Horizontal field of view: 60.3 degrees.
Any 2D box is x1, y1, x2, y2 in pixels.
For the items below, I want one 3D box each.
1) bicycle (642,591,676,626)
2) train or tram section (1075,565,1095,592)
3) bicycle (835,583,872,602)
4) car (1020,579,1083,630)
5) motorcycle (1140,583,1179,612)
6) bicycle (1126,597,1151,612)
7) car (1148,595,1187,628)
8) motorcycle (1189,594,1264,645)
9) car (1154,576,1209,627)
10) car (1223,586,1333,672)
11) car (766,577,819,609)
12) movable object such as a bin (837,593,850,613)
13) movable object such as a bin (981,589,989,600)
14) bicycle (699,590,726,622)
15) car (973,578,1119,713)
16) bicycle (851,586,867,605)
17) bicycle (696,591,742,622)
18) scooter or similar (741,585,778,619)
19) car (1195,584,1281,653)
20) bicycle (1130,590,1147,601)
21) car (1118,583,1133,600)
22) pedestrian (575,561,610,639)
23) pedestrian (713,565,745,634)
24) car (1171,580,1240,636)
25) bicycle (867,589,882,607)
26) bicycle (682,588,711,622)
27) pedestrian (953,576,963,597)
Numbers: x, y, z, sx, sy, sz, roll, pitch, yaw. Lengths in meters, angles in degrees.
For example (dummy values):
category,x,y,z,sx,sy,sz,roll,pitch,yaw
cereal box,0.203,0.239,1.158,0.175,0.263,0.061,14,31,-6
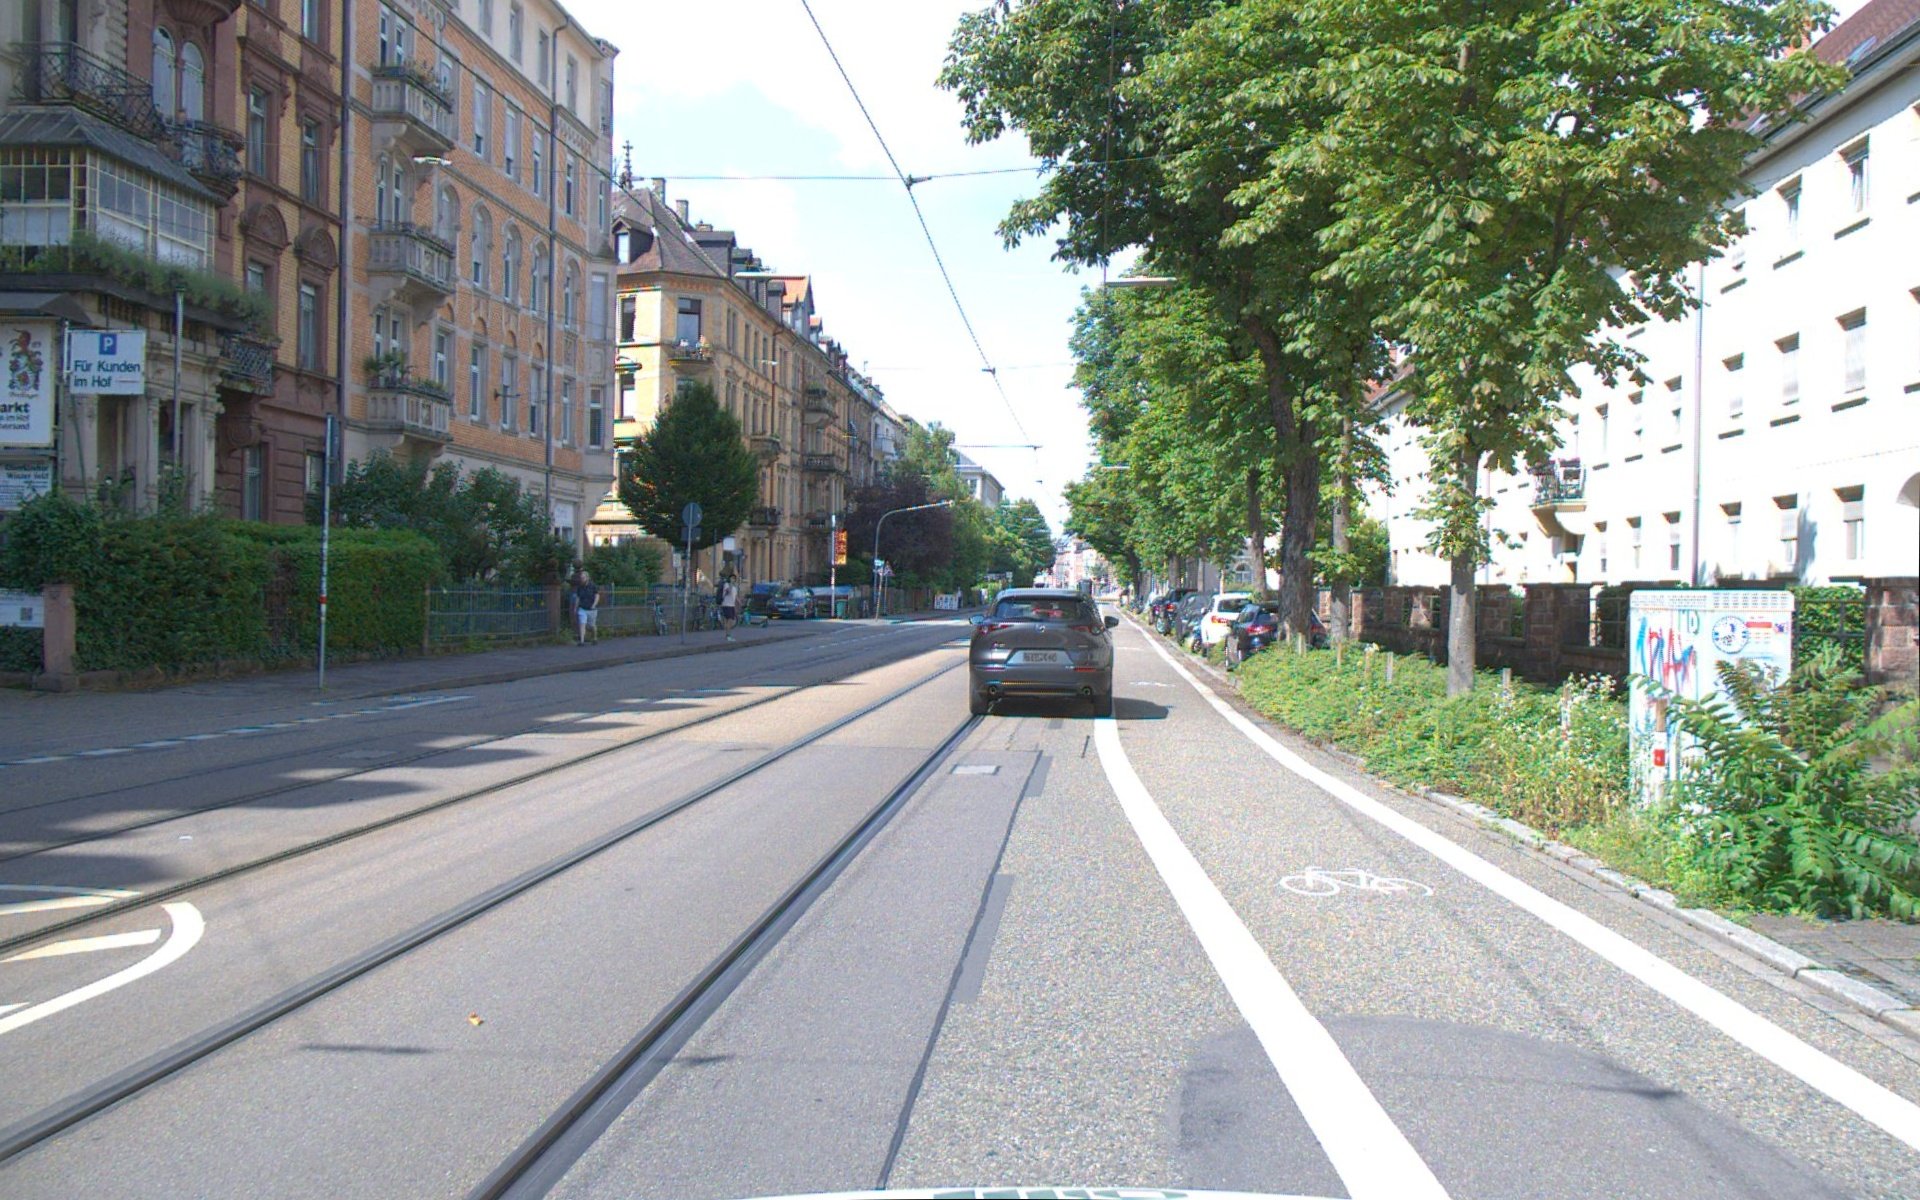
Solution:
category,x,y,z,sx,sy,sz,roll,pitch,yaw
bicycle,-8.325,0.225,45.795,0.412,0.949,1.950,1,1,4
train or tram section,18.568,-3.168,246.617,2.518,3.838,13.031,1,1,3
bicycle,-5.606,-0.397,86.981,1.921,0.963,0.532,1,0,0
car,3.109,0.128,55.449,1.952,1.555,4.002,3,1,5
motorcycle,11.739,-0.155,97.402,2.347,1.625,0.674,4,2,44
bicycle,14.329,0.377,132.867,1.896,1.196,0.513,0,-1,17
car,10.241,0.562,81.887,1.670,1.504,4.199,3,1,5
motorcycle,7.403,0.534,45.963,1.965,1.360,0.747,1,0,1
car,8.315,0.011,62.329,1.788,1.813,4.736,1,1,5
car,6.270,0.519,32.967,1.625,1.547,4.290,1,1,4
car,-7.903,-0.343,78.360,1.650,1.485,4.767,1,1,5
movable object such as a bin,-5.656,0.141,80.393,0.514,0.921,0.636,1,0,3
movable object such as a bin,2.569,-0.568,169.064,0.729,1.005,1.115,3,0,5
bicycle,-7.845,0.176,52.441,0.412,0.993,1.950,1,1,4
car,1.144,0.512,21.133,1.684,1.553,3.591,1,0,5
bicycle,-5.139,-0.233,84.110,0.519,0.963,1.969,1,0,5
bicycle,-7.941,0.204,54.475,1.422,0.993,0.404,1,1,5
scooter or similar,-7.679,0.082,63.289,1.343,1.256,0.401,2,0,-24
car,6.919,0.426,41.488,1.705,1.608,4.251,1,1,4
bicycle,15.883,-0.400,147.065,1.459,1.000,0.259,0,0,7
car,19.553,-1.024,195.794,1.684,2.003,4.210,1,0,6
pedestrian,-8.363,-0.002,37.674,0.477,1.733,1.152,1,0,3
pedestrian,-6.213,-0.020,44.486,0.522,1.791,1.106,3,0,4
car,7.766,0.227,52.630,1.823,1.682,4.640,1,1,4
bicycle,-4.585,-0.127,88.492,0.519,0.963,1.969,1,0,5
bicycle,-8.006,0.148,50.312,0.412,0.993,1.950,1,1,4
pedestrian,-0.159,-1.104,138.681,0.805,1.736,0.892,1,0,2
